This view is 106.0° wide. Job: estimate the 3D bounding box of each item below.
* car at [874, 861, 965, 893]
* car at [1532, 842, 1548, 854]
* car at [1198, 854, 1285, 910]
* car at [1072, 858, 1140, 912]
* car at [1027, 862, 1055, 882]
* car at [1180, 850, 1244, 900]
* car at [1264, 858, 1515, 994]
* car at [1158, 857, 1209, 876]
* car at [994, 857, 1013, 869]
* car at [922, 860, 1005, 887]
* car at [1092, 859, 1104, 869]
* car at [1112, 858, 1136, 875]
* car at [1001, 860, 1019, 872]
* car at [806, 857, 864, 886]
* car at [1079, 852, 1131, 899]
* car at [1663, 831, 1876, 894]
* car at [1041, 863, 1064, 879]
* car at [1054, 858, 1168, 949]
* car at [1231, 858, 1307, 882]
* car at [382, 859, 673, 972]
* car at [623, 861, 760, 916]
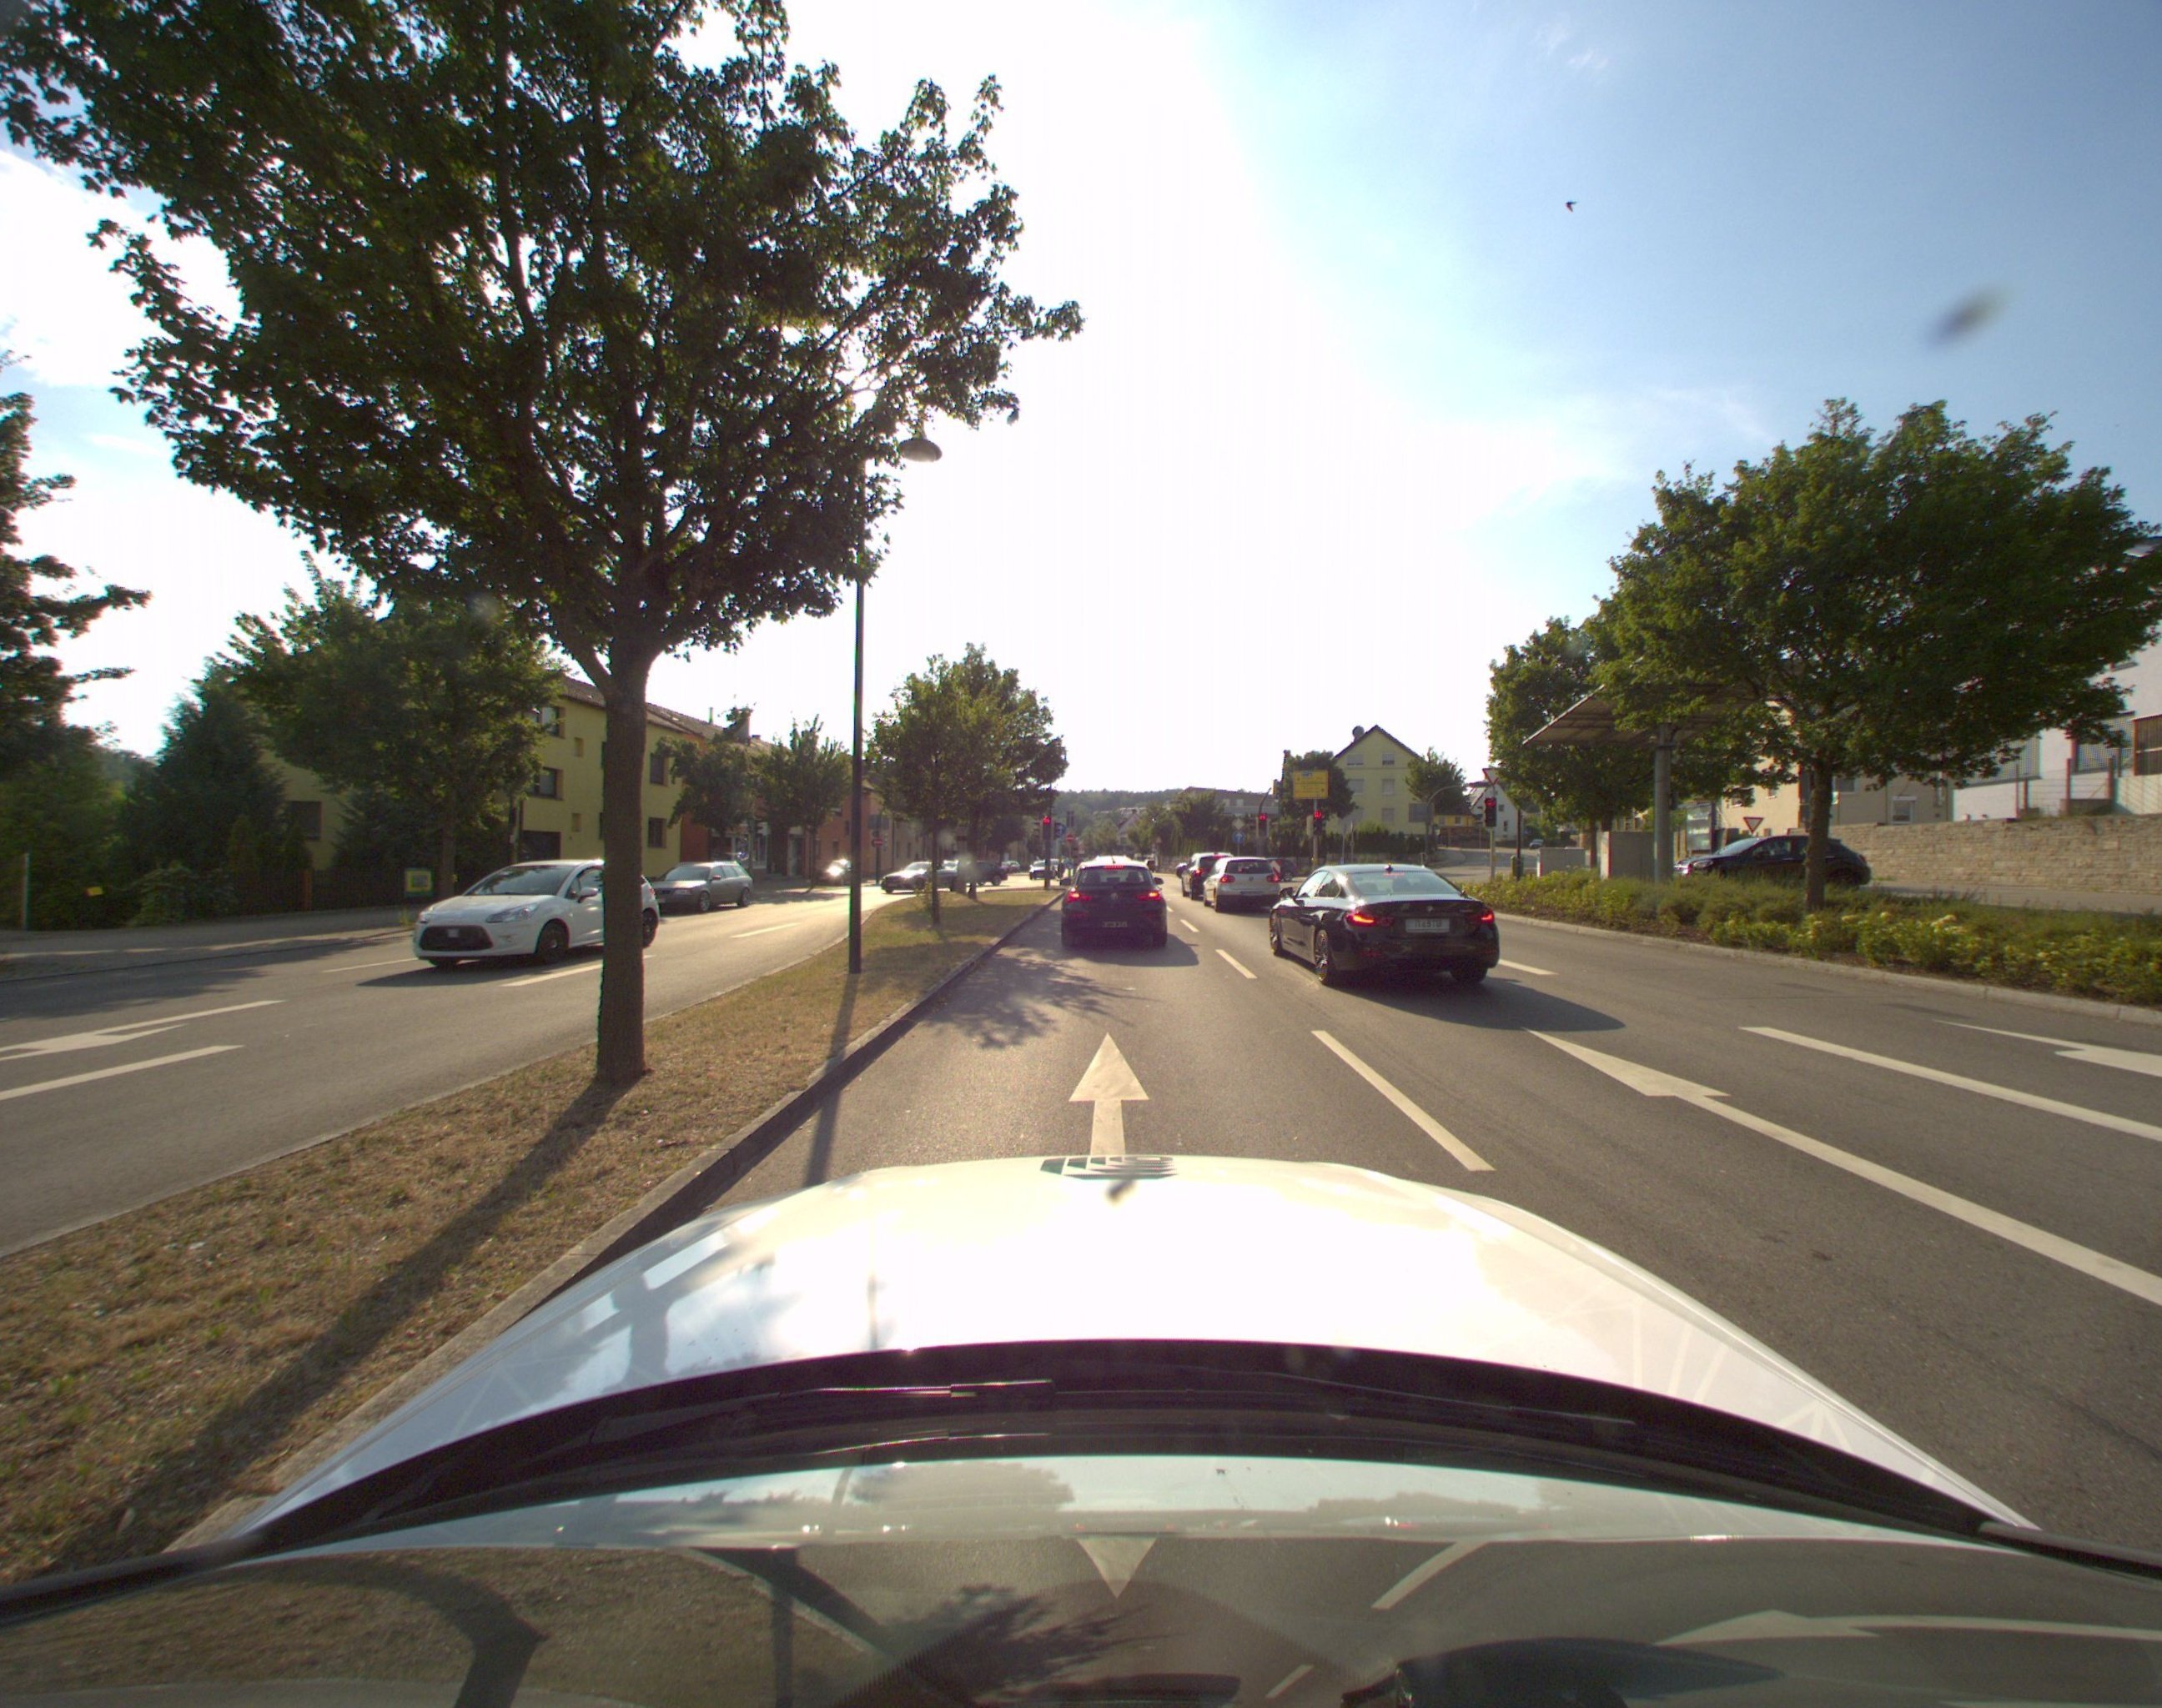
[{"bbox_3d":[-7.310,0.991,37.235,1.764,1.349,4.504,0,0,25],"label":"car"},{"bbox_3d":[68.078,-0.867,120.783,1.769,1.506,4.096,0,4,33],"label":"car"},{"bbox_3d":[4.437,0.734,23.130,1.808,1.446,4.350,0,0,3],"label":"car"},{"bbox_3d":[0.776,0.836,23.821,1.808,1.451,4.245,0,0,3],"label":"car"},{"bbox_3d":[-3.134,1.382,64.338,1.759,1.458,4.003,0,0,3],"label":"car"},{"bbox_3d":[4.653,0.720,29.420,1.808,1.666,4.350,0,0,3],"label":"car"},{"bbox_3d":[3.675,0.758,10.583,1.808,1.388,4.350,0,0,3],"label":"car"},{"bbox_3d":[8.113,0.987,64.900,1.870,1.485,4.622,0,0,-24],"label":"car"},{"bbox_3d":[-10.089,1.180,106.765,1.916,1.596,4.003,0,0,3],"label":"car"},{"bbox_3d":[-6.686,1.075,46.829,1.825,1.422,4.673,-1,0,40],"label":"car"},{"bbox_3d":[2.691,1.575,127.982,1.917,1.596,4.001,0,0,1],"label":"car"},{"bbox_3d":[4.422,1.286,84.452,1.887,1.702,4.517,-1,0,-4],"label":"car"},{"bbox_3d":[-9.820,1.591,112.265,1.916,1.596,4.003,0,0,3],"label":"car"},{"bbox_3d":[-14.153,0.995,47.065,1.835,1.552,4.005,2,0,4],"label":"car"},{"bbox_3d":[0.957,0.759,30.587,1.808,1.641,4.245,0,0,3],"label":"car"},{"bbox_3d":[18.319,0.224,21.865,3.959,1.608,1.861,0,0,14],"label":"car"},{"bbox_3d":[-2.467,1.464,71.855,1.685,1.353,4.003,0,0,3],"label":"car"},{"bbox_3d":[0.586,0.780,14.926,1.783,1.414,4.350,0,0,3],"label":"car"},{"bbox_3d":[11.304,0.953,49.152,4.165,1.386,1.649,0,0,-2],"label":"car"},{"bbox_3d":[-8.390,0.837,12.871,1.794,1.497,3.957,0,0,2],"label":"car"},{"bbox_3d":[-11.395,0.953,24.226,1.680,1.462,4.713,0,0,2],"label":"car"}]
